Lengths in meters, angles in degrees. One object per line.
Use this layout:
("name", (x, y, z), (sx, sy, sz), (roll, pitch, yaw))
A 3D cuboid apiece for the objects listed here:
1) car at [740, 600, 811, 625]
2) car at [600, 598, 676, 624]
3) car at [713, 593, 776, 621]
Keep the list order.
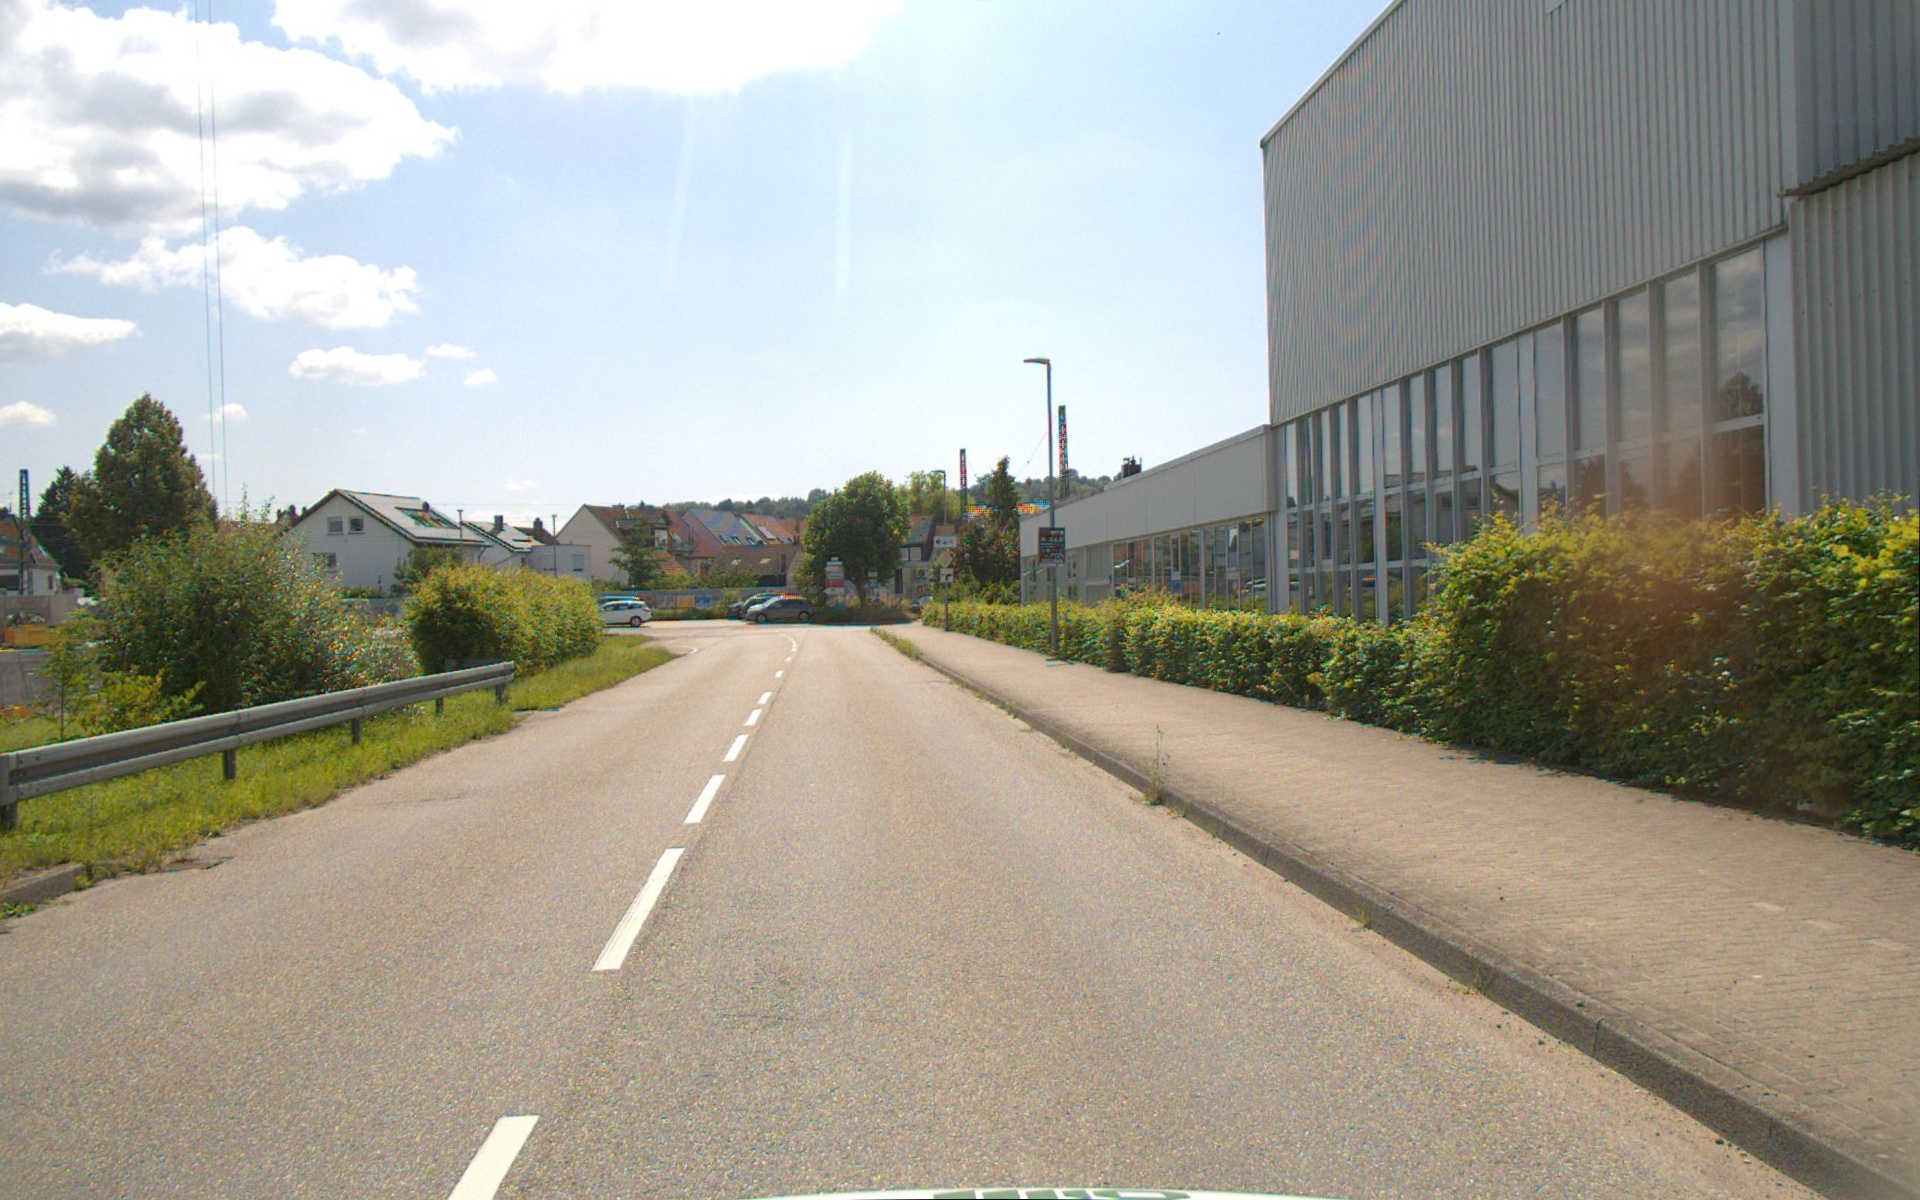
("car", (-11.168, 0.758, 100.014), (4.117, 1.488, 1.658), (-1, -1, -14))
("car", (-19.017, 0.670, 97.634), (4.215, 1.503, 1.818), (1, -1, -18))
("car", (-13.999, 0.443, 107.371), (3.921, 1.760, 1.763), (1, -1, -15))
